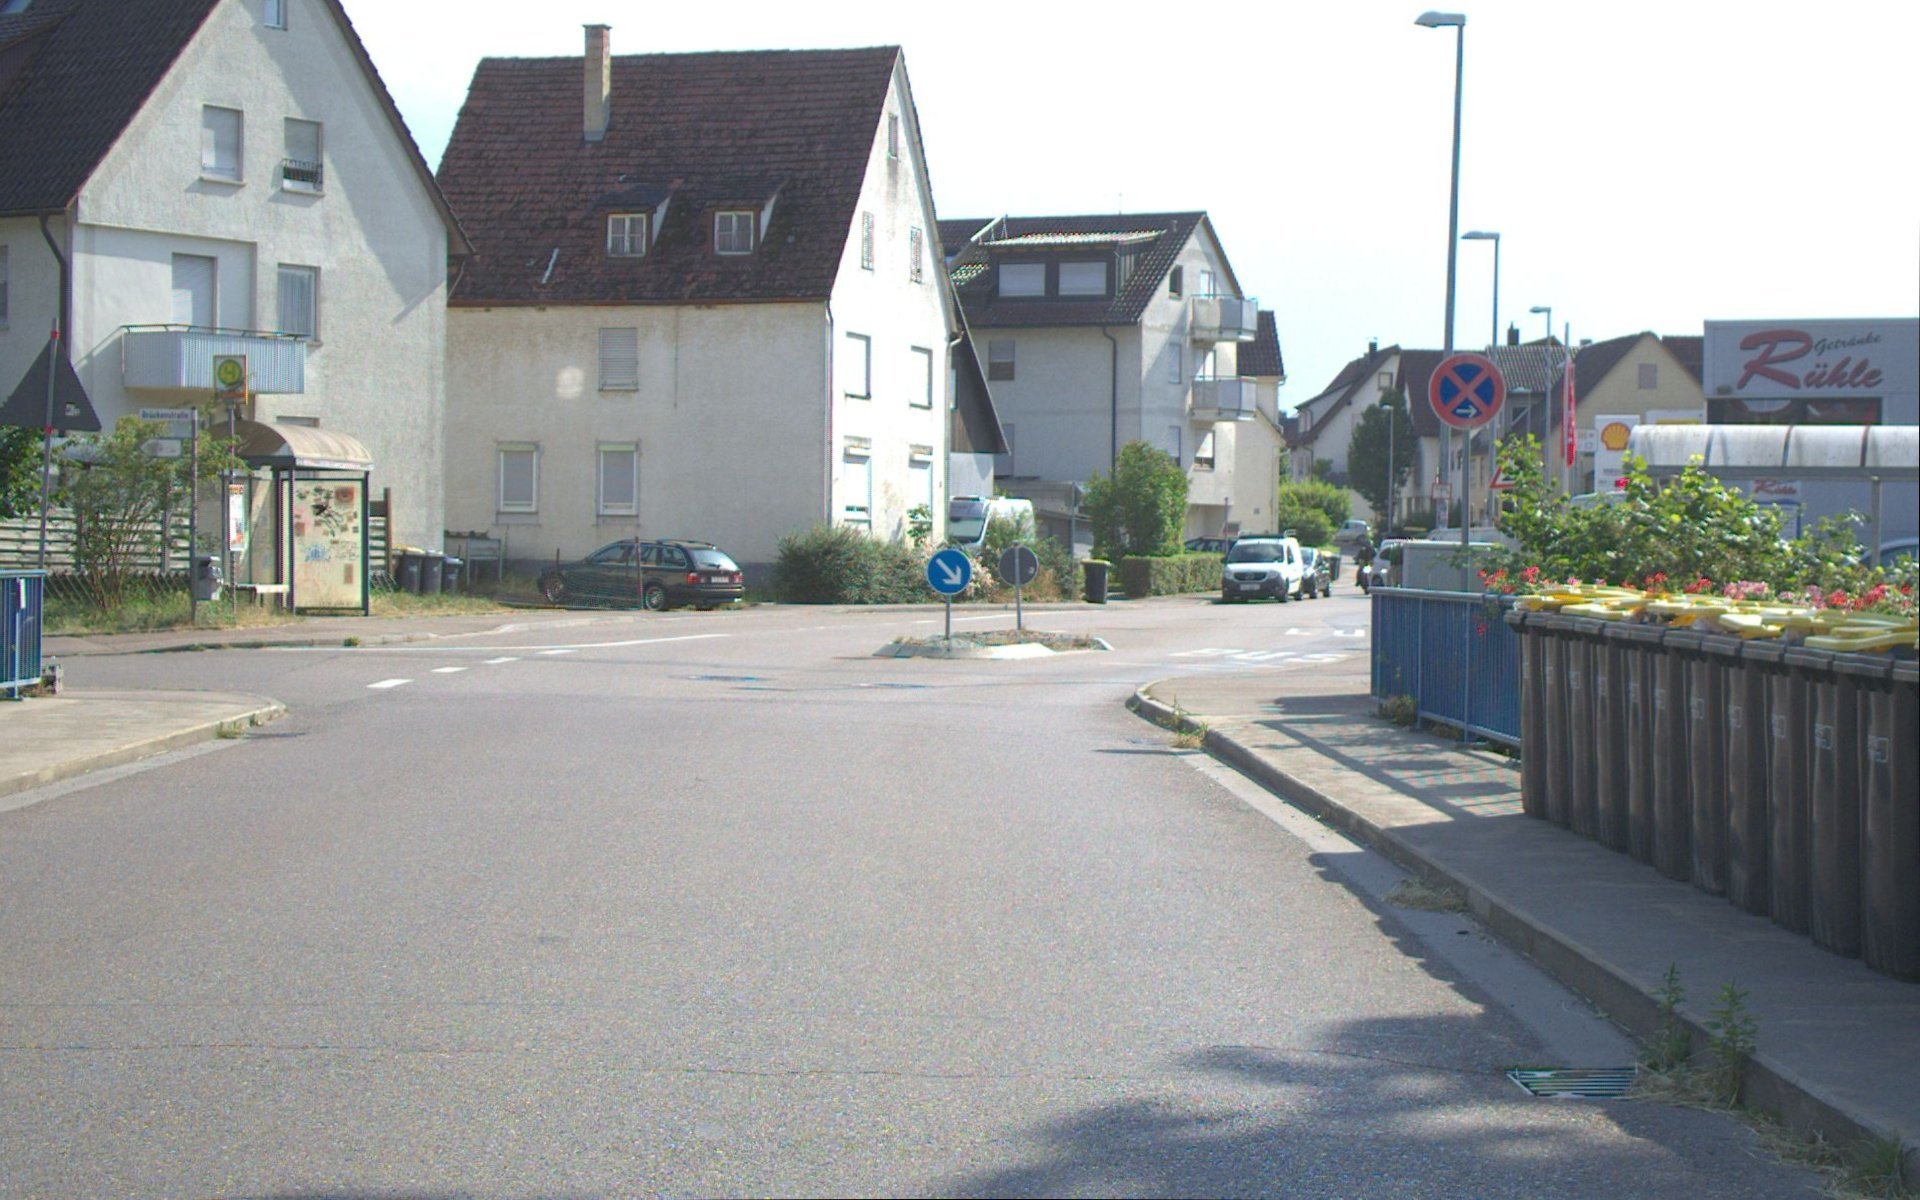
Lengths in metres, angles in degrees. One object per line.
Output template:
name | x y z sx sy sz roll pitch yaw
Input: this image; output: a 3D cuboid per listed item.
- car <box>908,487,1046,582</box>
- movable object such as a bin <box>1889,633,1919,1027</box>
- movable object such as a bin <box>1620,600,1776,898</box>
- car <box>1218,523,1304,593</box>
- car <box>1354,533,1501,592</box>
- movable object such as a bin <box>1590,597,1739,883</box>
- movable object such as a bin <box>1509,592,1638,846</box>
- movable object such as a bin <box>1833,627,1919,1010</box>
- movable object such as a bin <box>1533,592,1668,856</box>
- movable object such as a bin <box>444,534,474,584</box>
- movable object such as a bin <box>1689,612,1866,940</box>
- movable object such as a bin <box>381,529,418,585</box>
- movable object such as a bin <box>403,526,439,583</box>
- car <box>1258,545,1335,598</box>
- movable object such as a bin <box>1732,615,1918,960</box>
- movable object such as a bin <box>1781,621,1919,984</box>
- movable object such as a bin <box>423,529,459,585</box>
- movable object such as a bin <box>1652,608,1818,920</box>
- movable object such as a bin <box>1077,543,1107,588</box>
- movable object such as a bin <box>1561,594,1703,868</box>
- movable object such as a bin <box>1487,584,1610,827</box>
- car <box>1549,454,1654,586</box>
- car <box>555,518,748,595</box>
car | 0.537 -1.898 98.868 2.160 2.587 6.089 2 2 18
movable object such as a bin | 3.040 0.676 10.055 0.478 1.139 0.538 0 1 -2
movable object such as a bin | 2.899 0.576 13.535 0.478 1.139 0.538 0 1 -2
car | 8.307 -1.184 94.575 1.717 1.866 4.189 0 1 14
car | 13.578 -1.098 100.045 1.994 1.602 3.999 0 2 -36
movable object such as a bin | 2.891 0.567 14.127 0.478 1.139 0.538 0 1 -2
movable object such as a bin | 2.825 0.540 15.861 0.478 1.139 0.538 0 1 -2
movable object such as a bin | 3.021 0.662 10.637 0.478 1.139 0.538 0 1 -2
movable object such as a bin | 2.845 0.543 15.292 0.478 1.139 0.538 0 1 -2
movable object such as a bin | -9.300 -0.764 63.803 0.362 0.922 0.399 1 0 30
movable object such as a bin | 2.934 0.621 12.370 0.478 1.139 0.565 0 1 -2
movable object such as a bin | -10.146 -0.777 62.266 0.362 1.012 0.557 1 0 30
movable object such as a bin | -9.850 -0.833 62.816 0.362 1.037 0.557 1 0 30
car | 9.721 -0.833 99.140 1.674 1.446 3.832 0 1 14
movable object such as a bin | 2.959 0.630 11.790 0.478 1.139 0.538 0 1 -2
movable object such as a bin | 2.992 0.648 11.214 0.478 1.139 0.538 0 1 -2
movable object such as a bin | -9.556 -0.789 63.301 0.362 1.019 0.576 1 0 30
movable object such as a bin | 2.915 0.607 12.961 0.478 1.139 0.538 0 1 -2
movable object such as a bin | 3.256 -0.852 84.927 0.611 1.097 0.575 2 1 14
movable object such as a bin | 2.869 0.551 14.703 0.478 1.139 0.538 0 1 -2
movable object such as a bin | 2.823 0.499 16.524 0.478 1.139 0.538 0 1 -2
car | 11.918 -1.488 64.076 1.837 2.366 5.176 0 1 10
car | -6.413 -0.914 71.249 3.997 1.428 1.649 3 3 41
